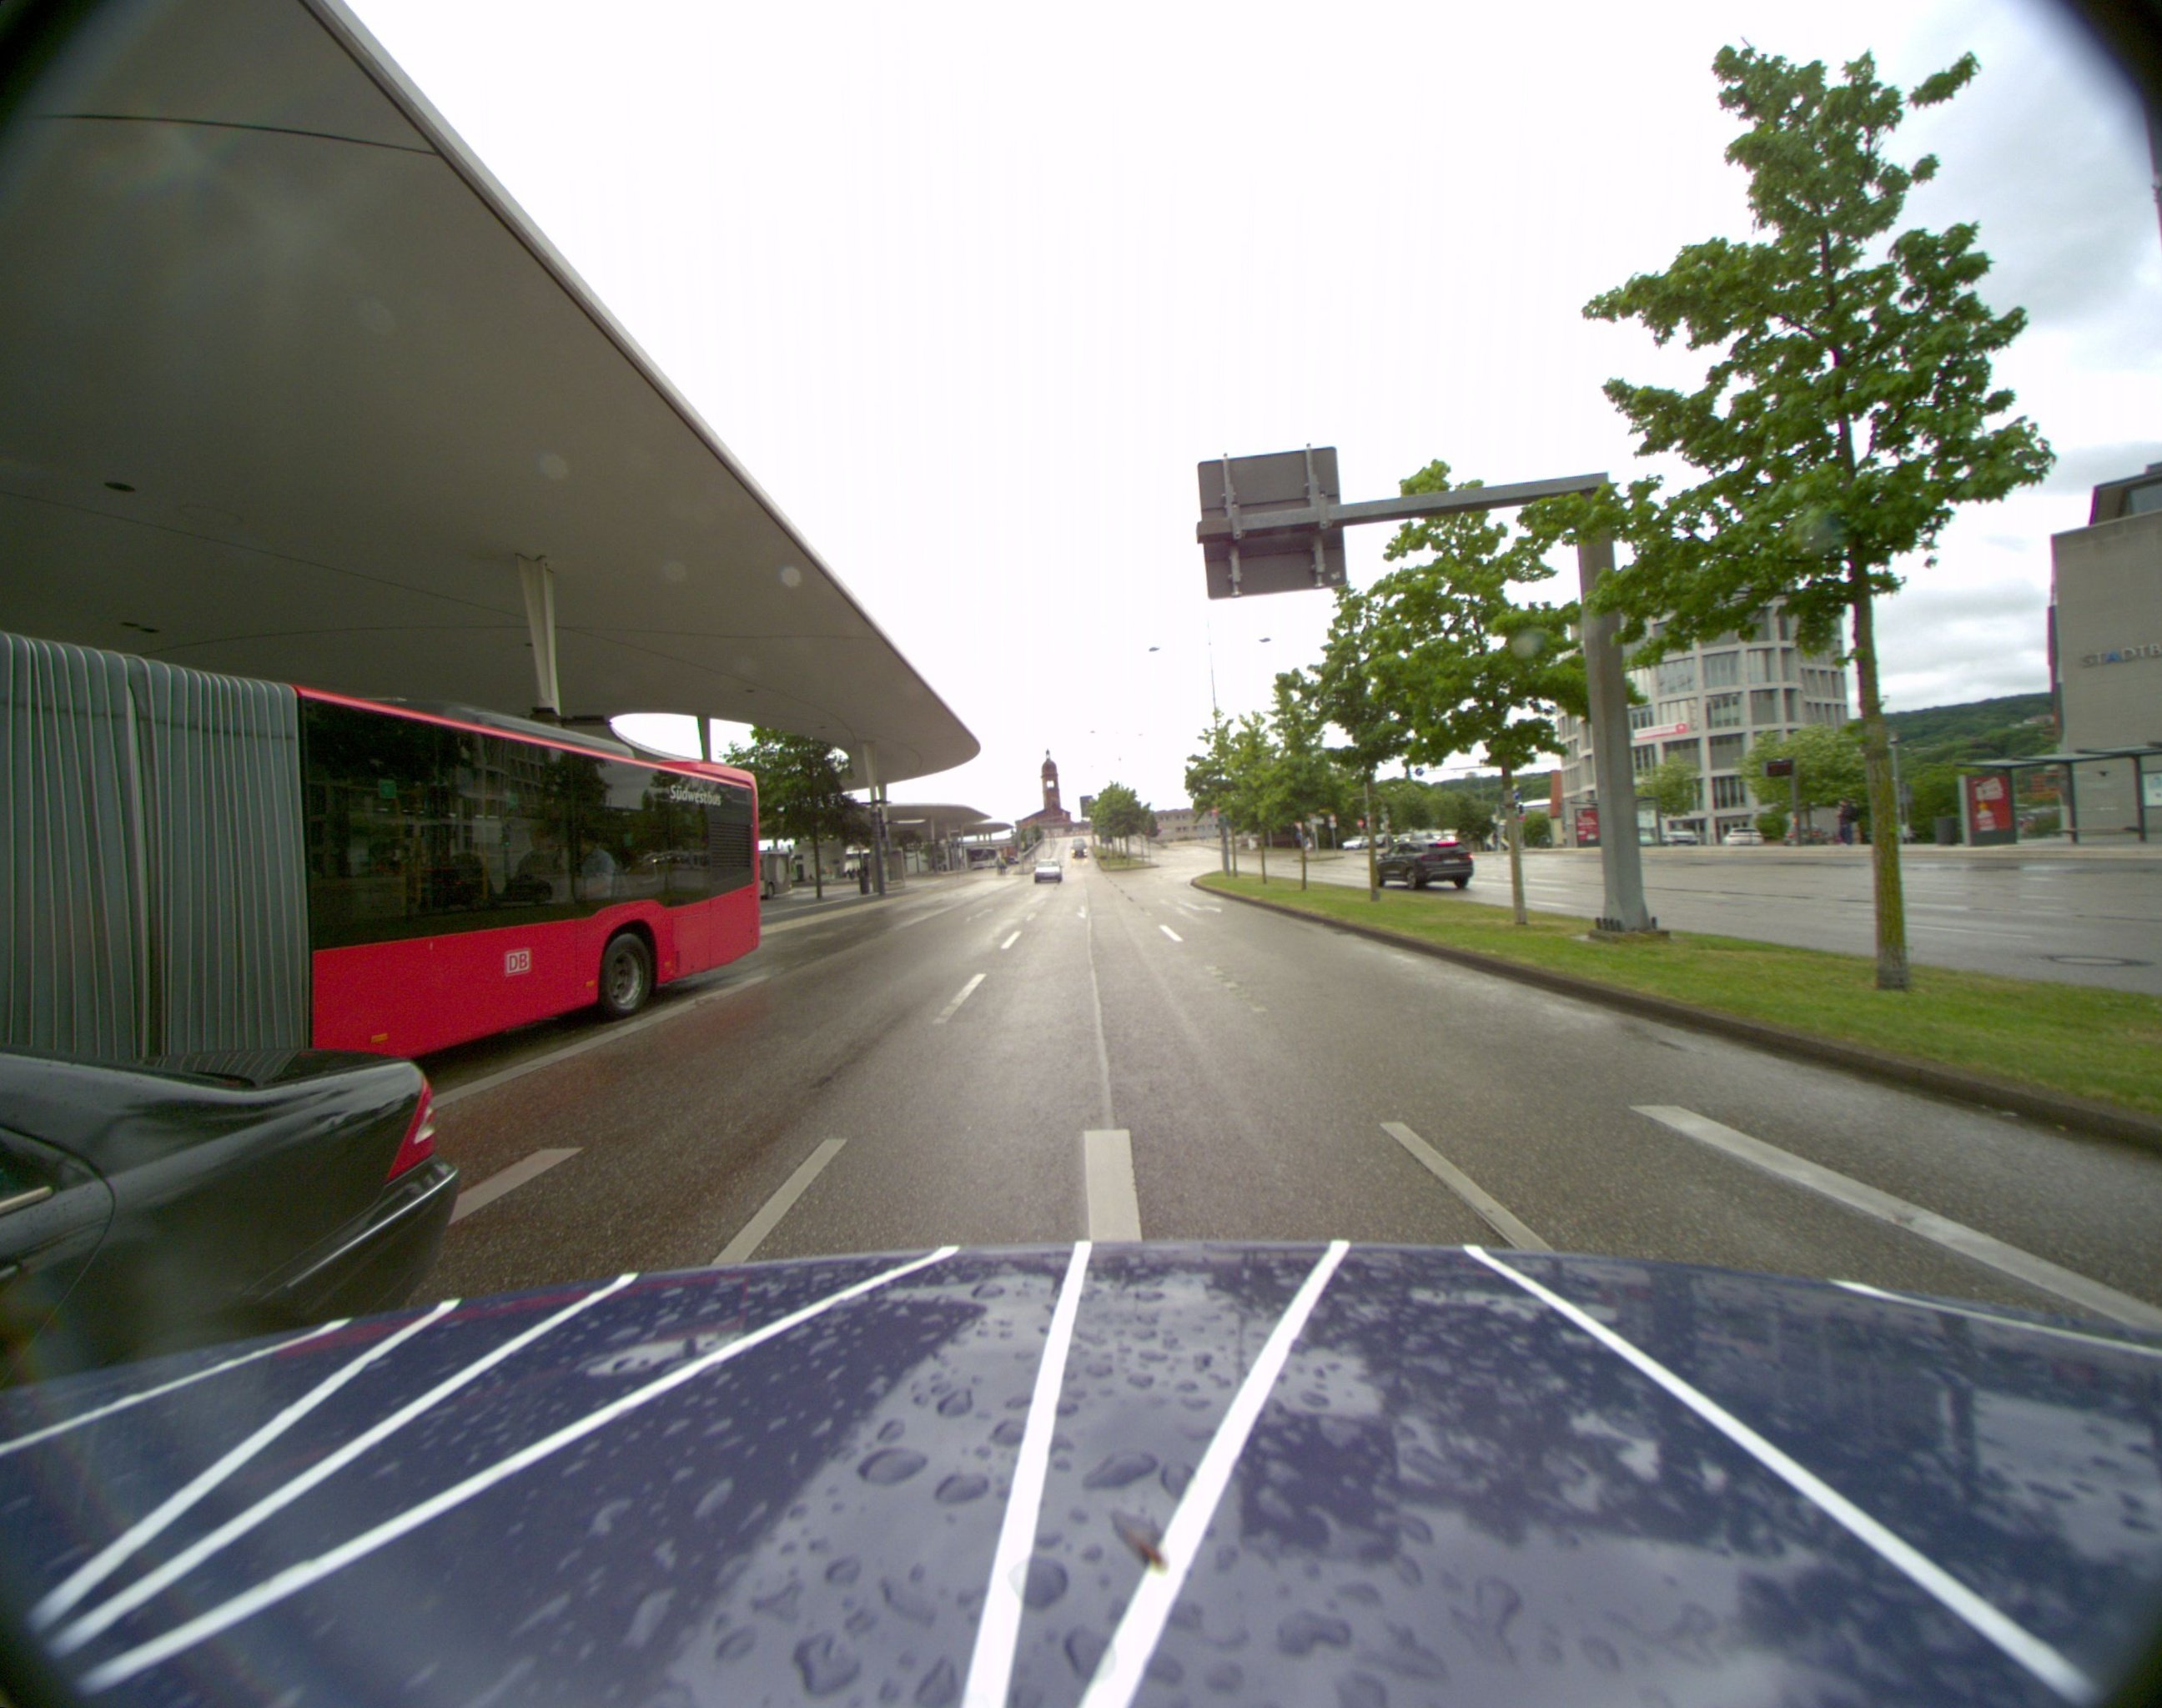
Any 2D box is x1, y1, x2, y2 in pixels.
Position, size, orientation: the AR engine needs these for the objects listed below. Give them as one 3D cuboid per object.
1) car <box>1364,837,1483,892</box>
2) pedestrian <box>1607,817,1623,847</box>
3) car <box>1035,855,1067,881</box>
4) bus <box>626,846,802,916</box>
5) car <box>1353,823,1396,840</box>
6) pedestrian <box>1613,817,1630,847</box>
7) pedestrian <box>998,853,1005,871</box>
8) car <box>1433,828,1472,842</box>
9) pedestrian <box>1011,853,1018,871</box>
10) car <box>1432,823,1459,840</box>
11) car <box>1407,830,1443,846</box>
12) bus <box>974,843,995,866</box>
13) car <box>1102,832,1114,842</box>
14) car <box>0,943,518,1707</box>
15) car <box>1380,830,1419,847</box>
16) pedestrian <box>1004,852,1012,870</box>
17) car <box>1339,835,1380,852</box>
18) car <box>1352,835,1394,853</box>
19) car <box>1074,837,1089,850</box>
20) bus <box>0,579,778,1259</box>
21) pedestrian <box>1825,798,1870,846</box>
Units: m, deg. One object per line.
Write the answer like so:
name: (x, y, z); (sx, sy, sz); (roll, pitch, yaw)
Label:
car: (11.606, 0.328, 26.146); (1.826, 1.630, 4.598); (-3, 0, -2)
pedestrian: (29.505, -1.208, 42.018); (0.504, 1.625, 0.502); (-2, 1, 1)
car: (-1.881, 0.878, 48.135); (1.627, 1.450, 3.736); (-3, 0, 3)
bus: (-19.911, 1.234, 42.698); (3.003, 3.088, 12.356); (-6, 0, 3)
car: (41.060, -3.149, 106.294); (2.315, 2.002, 5.021); (-3, 1, -41)
pedestrian: (30.055, -1.235, 42.251); (0.520, 1.625, 0.536); (-2, 1, 1)
pedestrian: (-7.443, 0.742, 71.147); (0.576, 1.614, 0.588); (-3, 1, 1)
car: (50.285, -2.590, 102.941); (2.196, 1.702, 4.912); (-3, 0, -10)
pedestrian: (-6.216, 0.765, 70.994); (0.557, 1.614, 0.552); (-3, 1, 1)
car: (47.061, -2.924, 98.041); (1.994, 2.002, 4.008); (-2, 0, 44)
car: (42.144, -1.962, 93.007); (4.925, 1.702, 2.190); (-3, 1, -43)
bus: (-14.305, 0.068, 113.269); (2.675, 3.111, 9.712); (-3, 0, -5)
car: (4.985, -3.087, 139.209); (1.998, 1.765, 4.000); (-3, 0, 1)
car: (-2.829, 1.154, 0.324); (1.750, 1.472, 4.434); (-5, 1, 0)
car: (36.371, -1.763, 86.654); (4.925, 1.702, 2.190); (-3, 1, -43)
pedestrian: (-6.842, 0.674, 71.143); (0.557, 1.614, 0.552); (-3, 1, 1)
car: (31.335, -1.177, 85.457); (4.925, 1.702, 2.190); (-3, 1, -42)
car: (31.355, -1.108, 81.640); (4.925, 1.702, 2.190); (-3, 1, -43)
car: (0.058, -1.375, 101.831); (1.704, 1.656, 3.998); (-3, 1, -2)
bus: (-6.148, 0.349, 7.604); (2.750, 3.155, 8.120); (-3, 0, 1)
pedestrian: (29.156, -1.212, 28.916); (0.787, 1.750, 0.972); (-3, 1, -28)
